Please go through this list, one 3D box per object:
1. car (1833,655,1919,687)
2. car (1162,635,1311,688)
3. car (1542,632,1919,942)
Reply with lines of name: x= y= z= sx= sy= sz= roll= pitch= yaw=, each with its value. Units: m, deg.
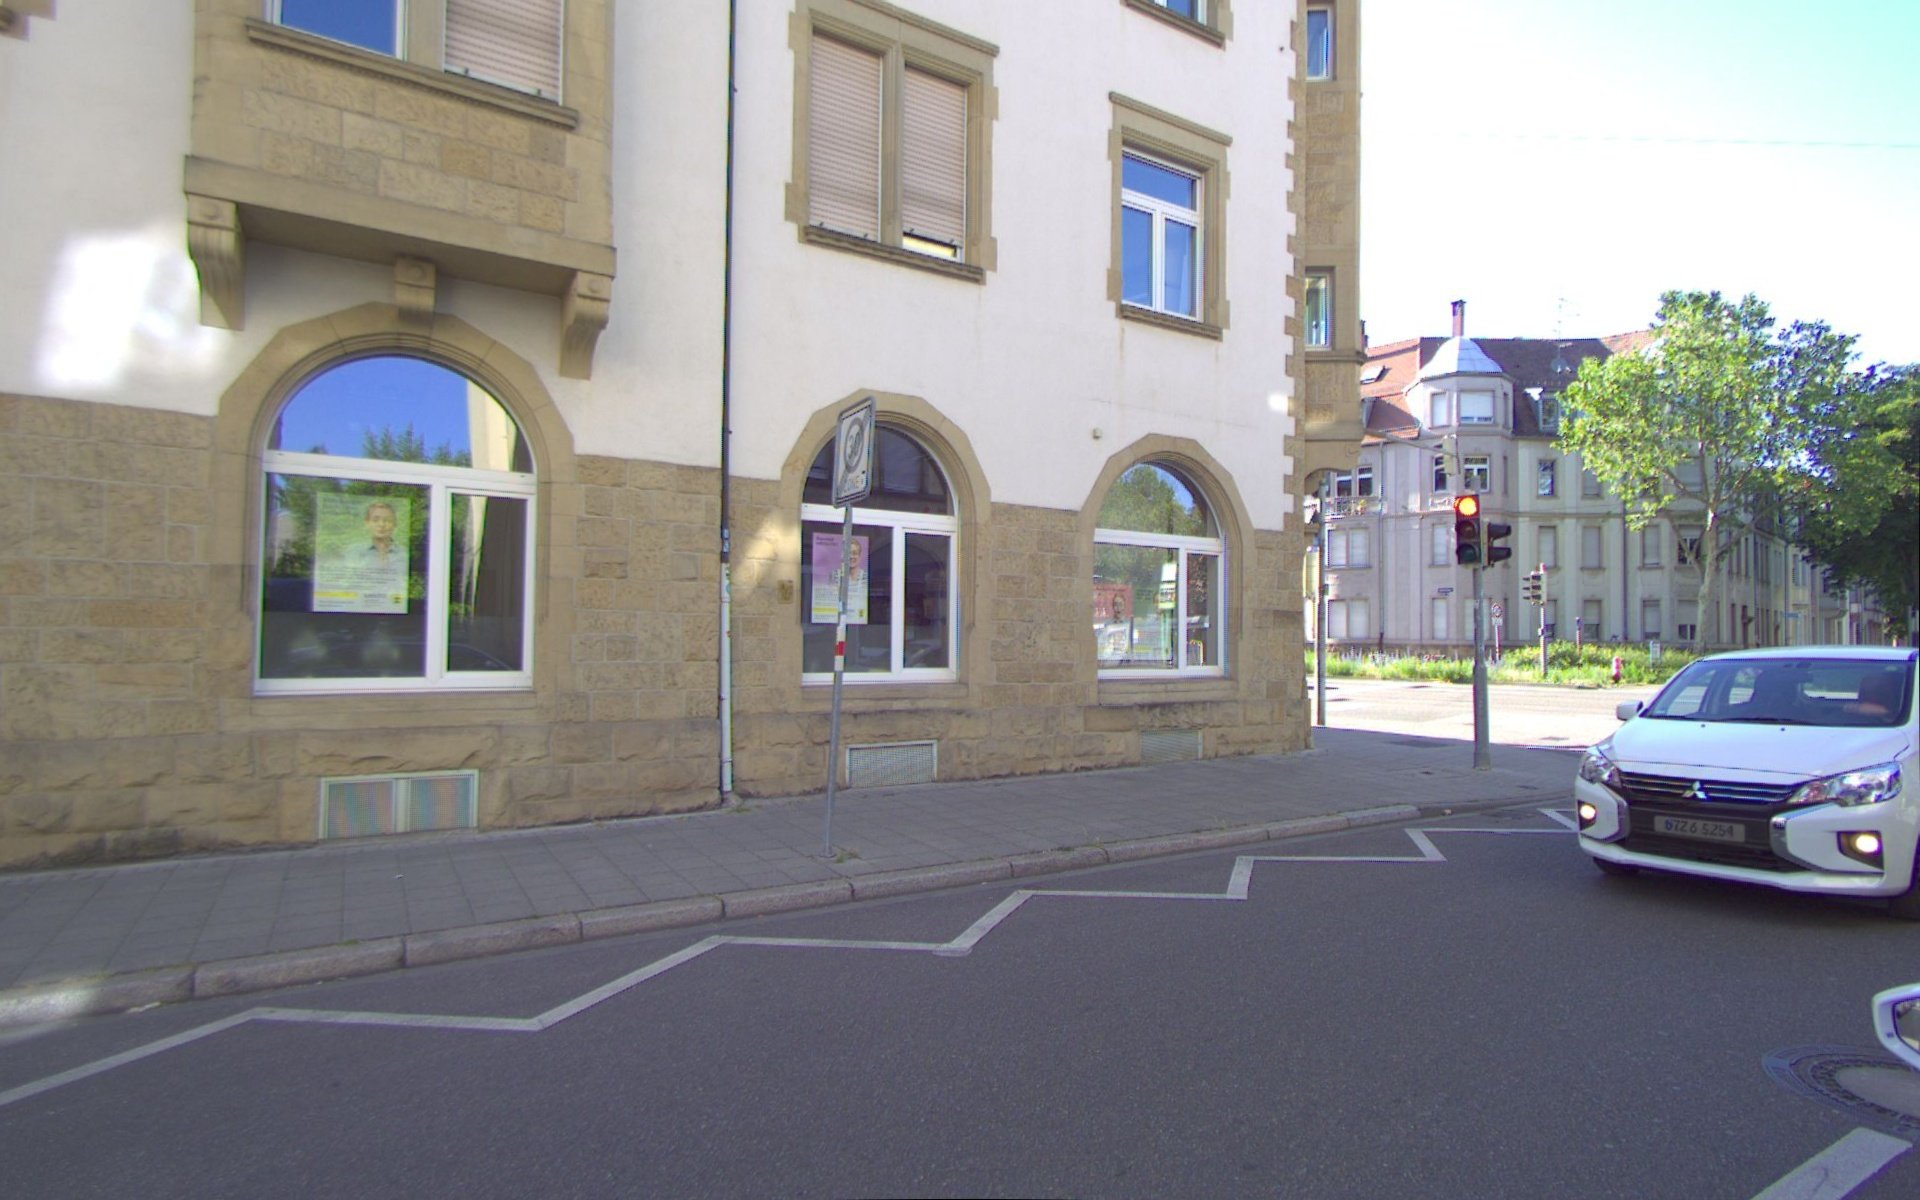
car: x=45.846 y=3.477 z=49.709 sx=3.943 sy=1.505 sz=1.673 roll=-2 pitch=-3 yaw=42
car: x=8.334 y=1.824 z=30.424 sx=3.944 sy=1.336 sz=1.812 roll=2 pitch=-1 yaw=43
car: x=5.601 y=0.978 z=6.606 sx=3.761 sy=1.491 sz=1.615 roll=2 pitch=-3 yaw=-34
